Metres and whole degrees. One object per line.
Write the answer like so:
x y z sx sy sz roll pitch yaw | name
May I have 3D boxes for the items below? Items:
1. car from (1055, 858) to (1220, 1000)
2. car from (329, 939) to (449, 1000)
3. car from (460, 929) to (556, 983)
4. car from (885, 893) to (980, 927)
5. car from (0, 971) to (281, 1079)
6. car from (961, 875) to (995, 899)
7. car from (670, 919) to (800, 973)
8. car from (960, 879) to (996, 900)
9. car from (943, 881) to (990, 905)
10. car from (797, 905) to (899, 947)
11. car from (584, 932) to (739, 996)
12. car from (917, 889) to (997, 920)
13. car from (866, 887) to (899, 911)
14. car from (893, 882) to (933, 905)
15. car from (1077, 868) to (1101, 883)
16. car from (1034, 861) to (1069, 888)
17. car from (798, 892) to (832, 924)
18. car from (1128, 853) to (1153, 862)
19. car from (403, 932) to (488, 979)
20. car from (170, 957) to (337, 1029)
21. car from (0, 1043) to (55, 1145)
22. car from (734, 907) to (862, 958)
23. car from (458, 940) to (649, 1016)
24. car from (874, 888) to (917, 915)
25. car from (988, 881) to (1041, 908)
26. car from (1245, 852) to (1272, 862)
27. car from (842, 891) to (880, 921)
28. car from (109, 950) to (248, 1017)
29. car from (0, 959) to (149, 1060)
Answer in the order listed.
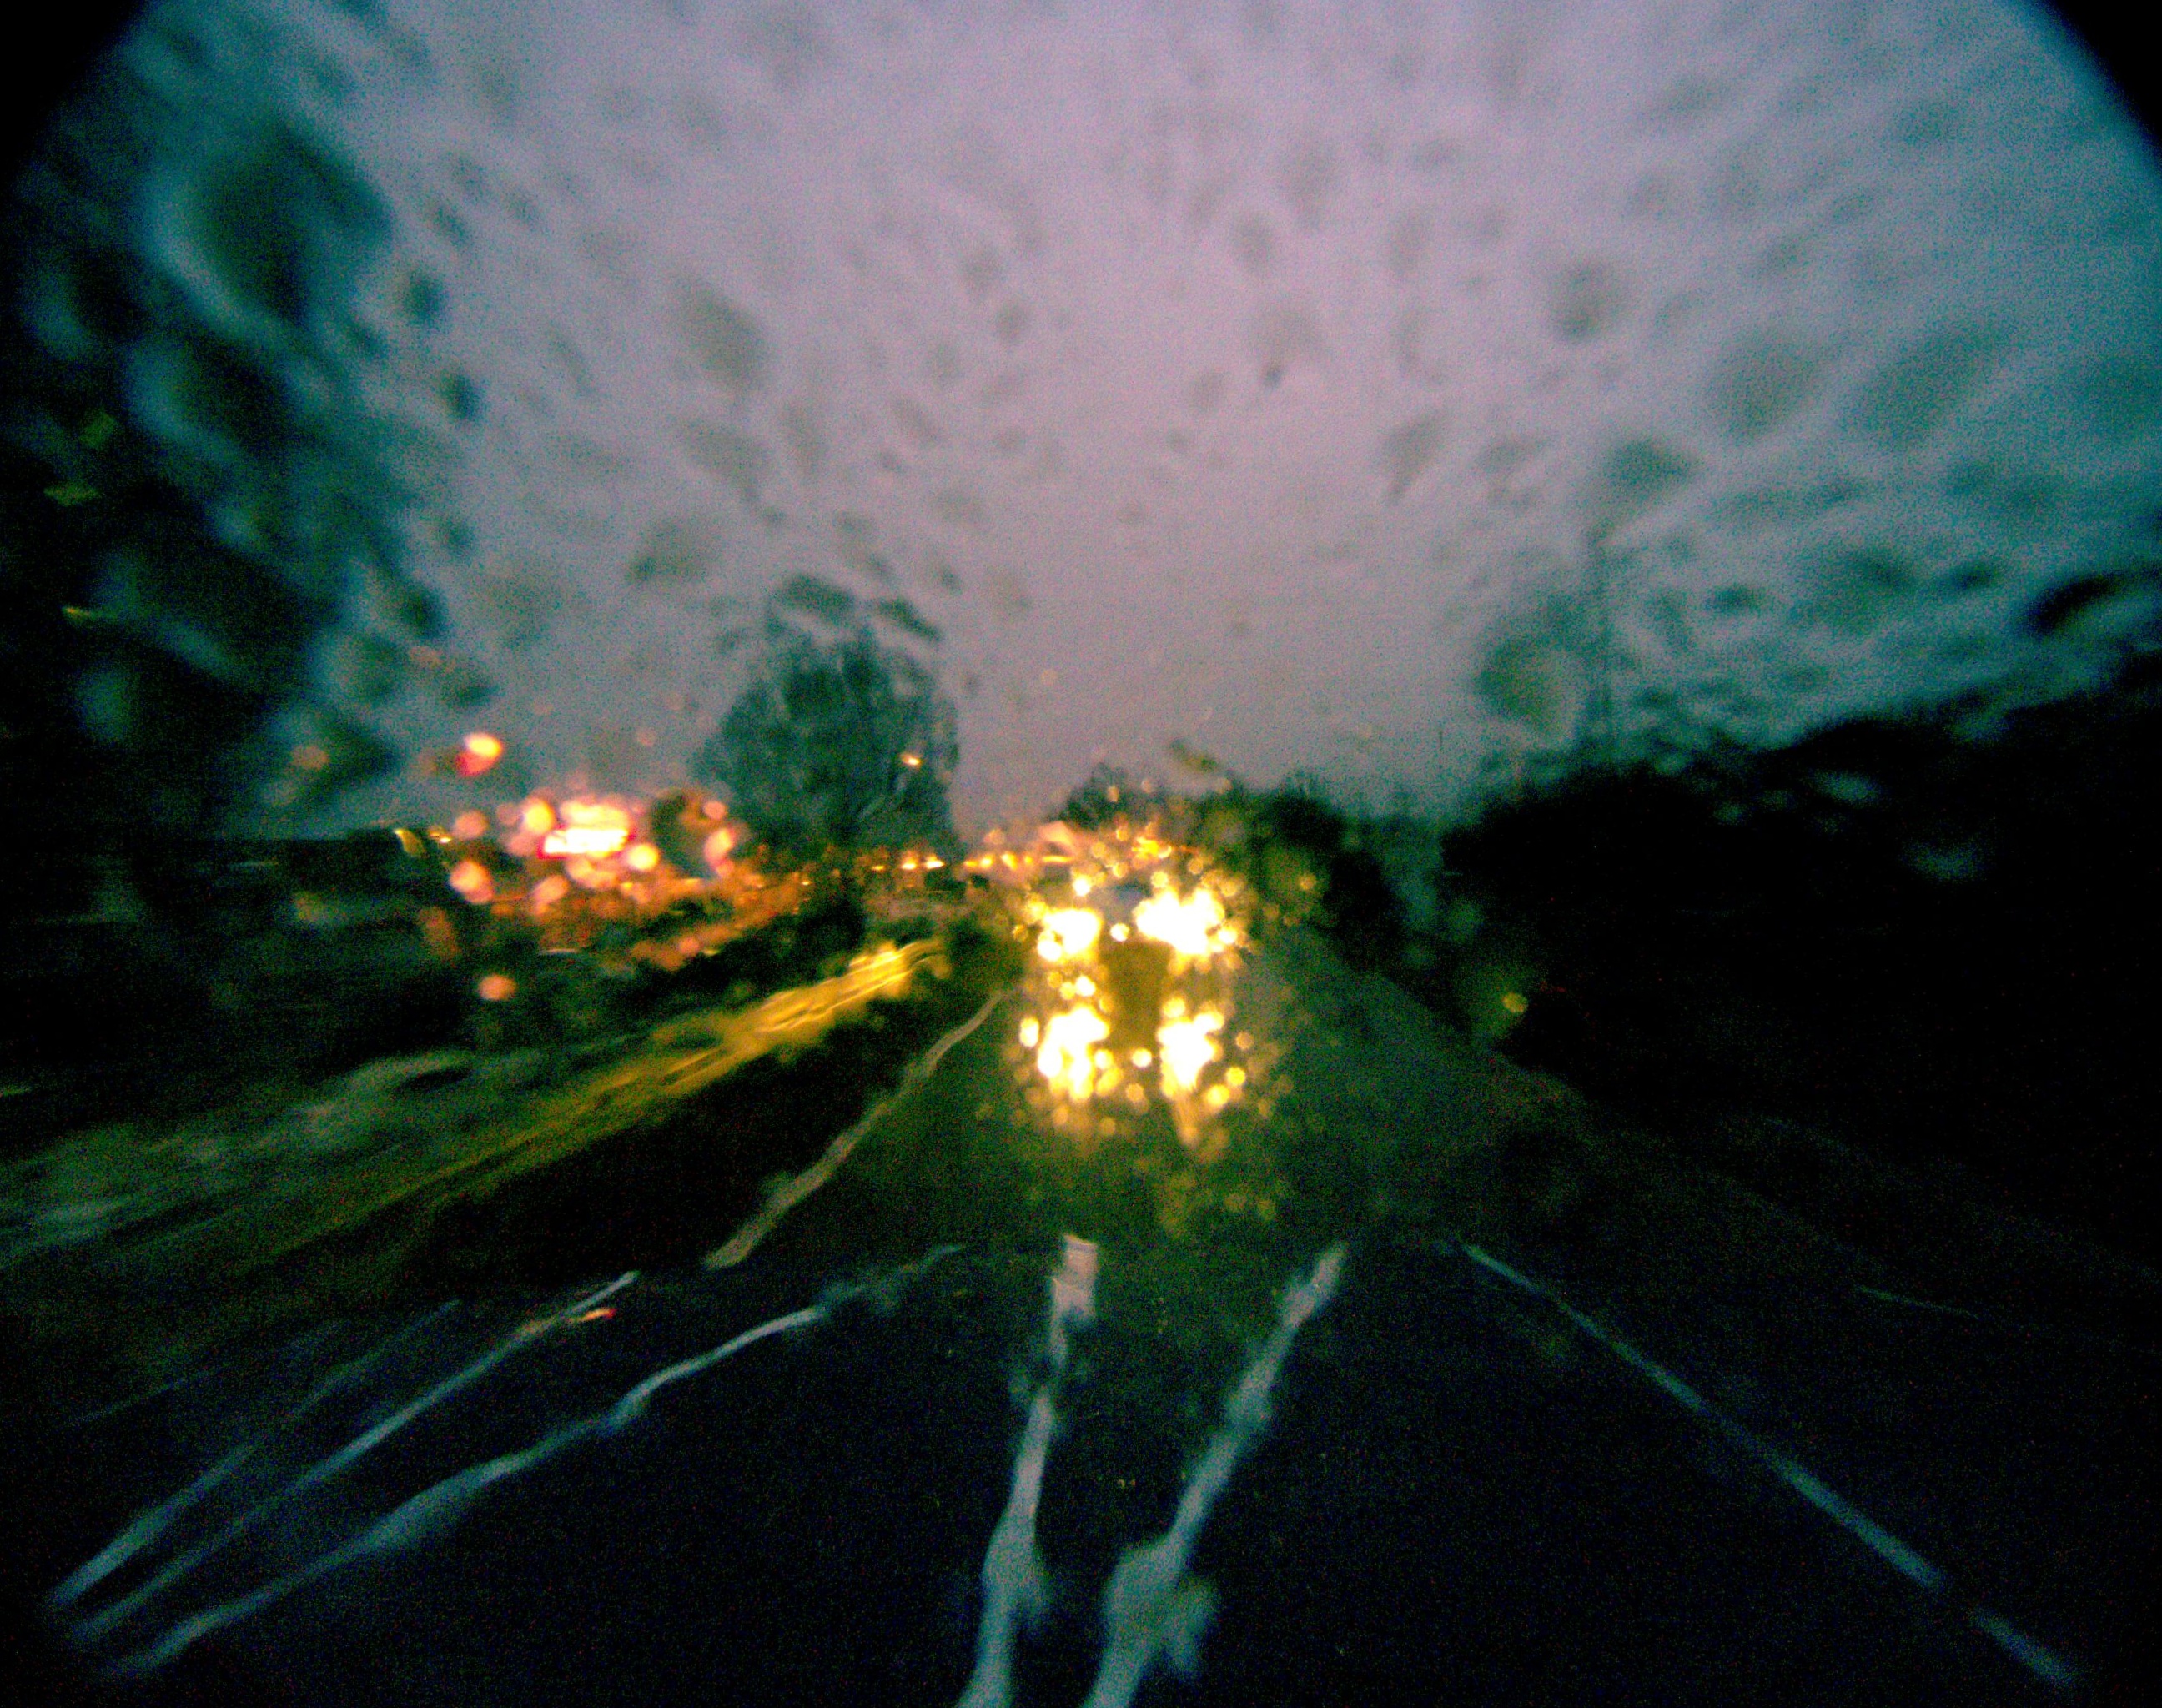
0.885 0.897 10.960 1.809 1.452 4.247 -5 0 7 | car
-23.269 3.845 25.725 1.570 1.421 3.755 -3 0 -19 | car
-21.924 3.843 29.258 1.748 1.416 4.309 -3 0 -20 | car
-7.888 2.920 40.260 4.707 1.389 1.901 -2 1 -16 | car
-22.444 3.945 18.244 1.719 1.592 4.041 -2 0 22 | car
-9.407 2.947 69.109 1.889 1.946 4.952 -4 0 -20 | car
-12.218 3.220 27.037 4.004 1.412 1.628 -3 1 -23 | car
-8.346 2.825 61.266 1.722 1.508 3.251 -4 0 -29 | car
-8.608 2.920 56.960 3.259 1.526 1.390 -4 0 -16 | car
-10.370 3.166 33.823 4.183 1.389 1.901 -2 1 -19 | car
-12.917 3.362 23.670 4.004 1.412 1.628 -3 1 -23 | car
-7.013 2.842 42.895 4.182 1.389 1.849 -2 1 -16 | car
-14.717 3.315 56.188 1.729 1.493 4.018 -2 0 -24 | car
-13.220 3.060 59.677 1.804 1.586 3.971 -3 0 -31 | car
0.837 2.252 79.802 1.715 1.404 4.009 -2 1 -12 | car
-2.923 1.961 74.536 2.282 2.426 5.233 -2 1 -15 | car
-15.595 3.153 44.729 1.600 1.576 3.627 -3 0 -16 | car
10.498 0.619 134.055 4.004 1.588 1.809 -2 1 22 | car
-25.604 4.044 30.757 1.571 1.344 3.832 -3 0 -24 | car
-24.836 4.107 23.009 1.570 1.421 3.756 -3 0 -14 | car
-17.796 3.761 10.985 3.213 1.305 1.388 -2 1 -25 | car
-11.259 3.074 30.409 4.591 1.447 1.928 -3 1 -20 | car
-14.396 3.351 21.024 4.004 1.431 1.793 -3 1 -23 | car
-12.588 3.143 51.395 1.829 1.629 4.462 -3 -1 -27 | car
-4.252 2.565 48.861 1.769 1.421 3.817 -2 1 23 | car
28.351 0.471 121.607 4.005 1.588 1.809 -2 1 18 | car
-13.807 3.184 47.482 1.807 1.526 4.535 -3 0 -21 | car
-28.759 4.071 24.372 1.571 1.476 3.753 -3 0 -29 | car
-26.342 3.883 19.229 1.725 1.858 4.028 -3 0 -23 | car
